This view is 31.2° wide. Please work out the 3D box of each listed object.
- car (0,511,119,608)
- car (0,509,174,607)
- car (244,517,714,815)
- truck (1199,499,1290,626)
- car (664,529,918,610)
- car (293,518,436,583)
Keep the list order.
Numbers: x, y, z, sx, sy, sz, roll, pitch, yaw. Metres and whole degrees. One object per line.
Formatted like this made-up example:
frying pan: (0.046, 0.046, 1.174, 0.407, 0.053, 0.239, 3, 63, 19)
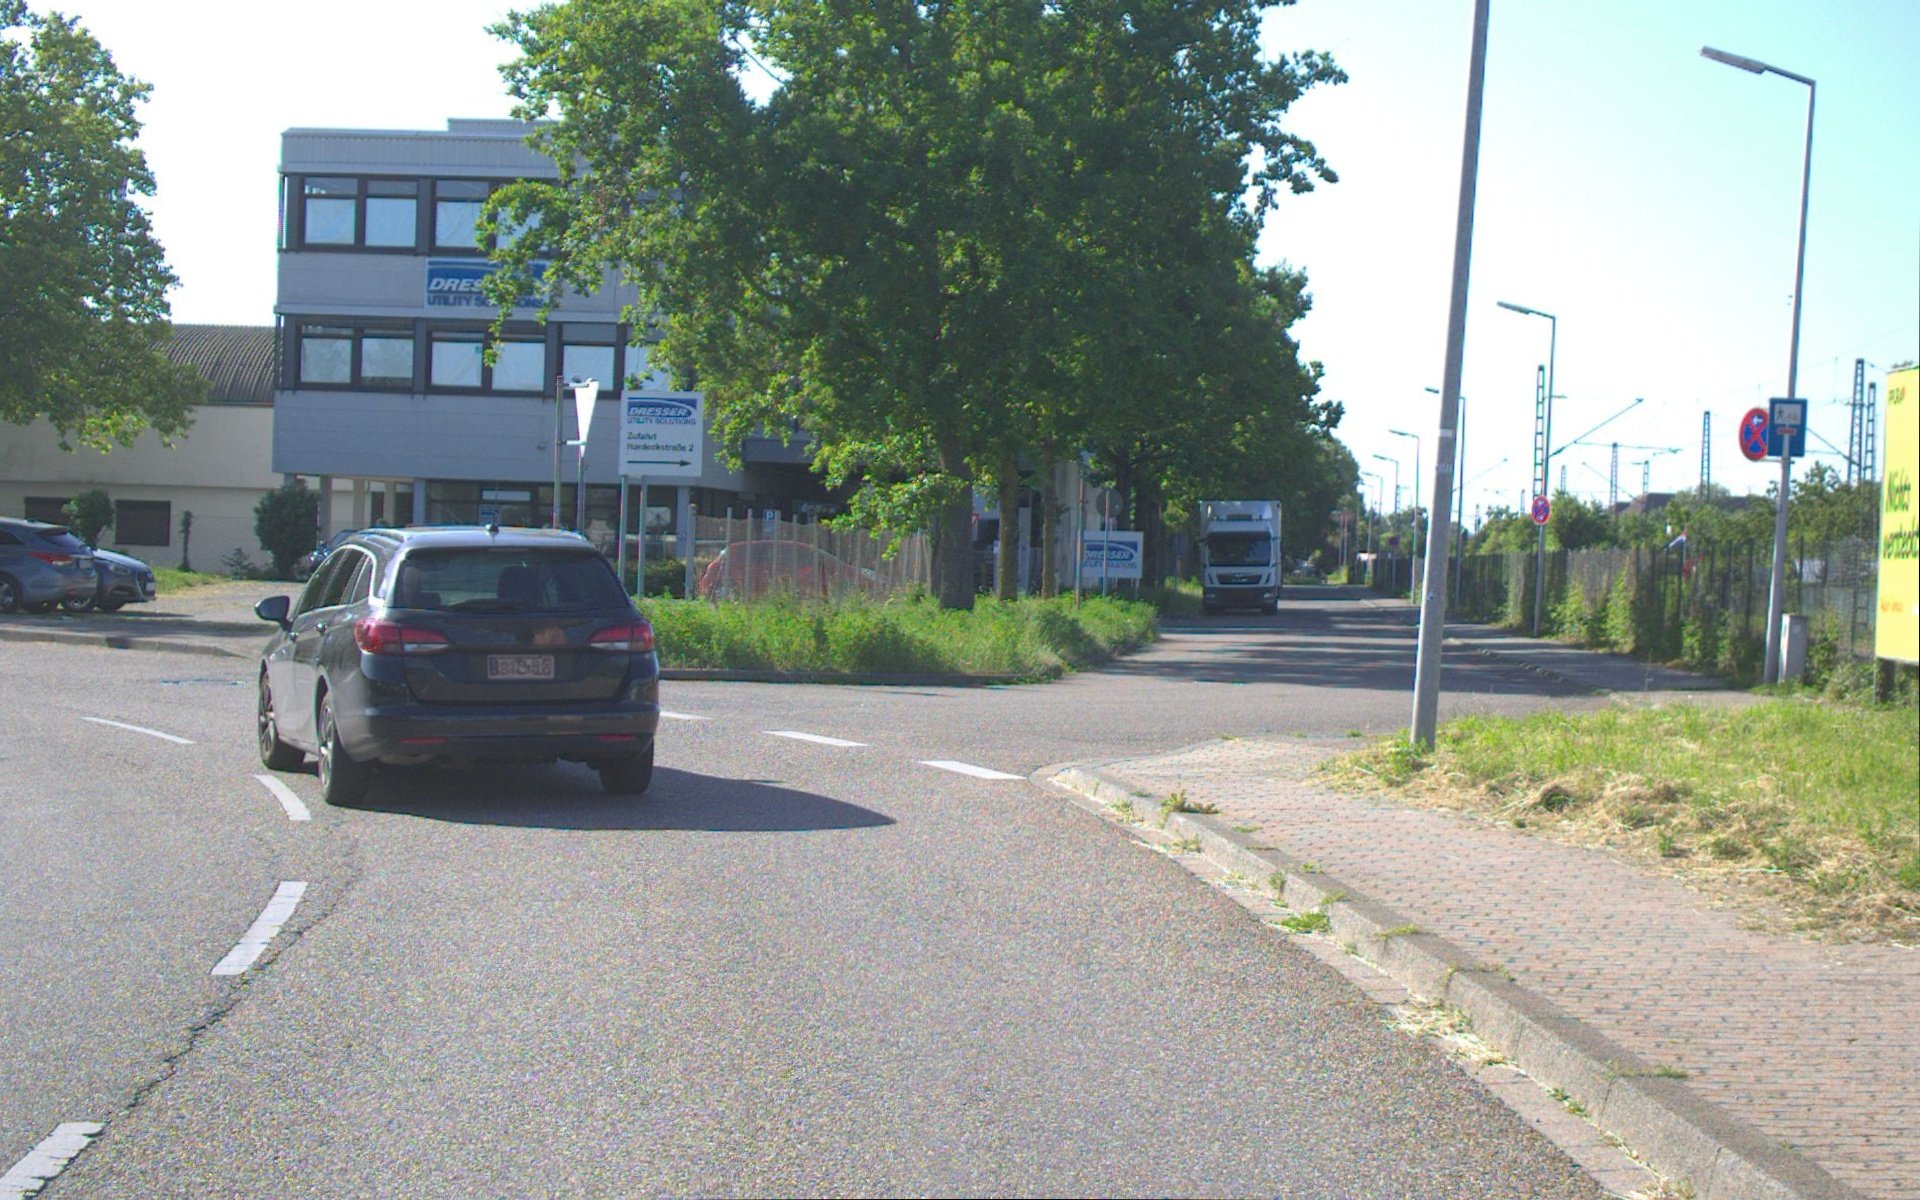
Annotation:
car: (-15.655, -0.685, 52.800, 4.911, 1.421, 2.000, 2, 1, 5)
car: (-15.402, -0.722, 55.390, 4.911, 1.479, 2.000, 2, 1, 5)
car: (-2.890, 0.280, 19.712, 1.942, 1.483, 4.567, 0, 1, -17)
truck: (9.415, -1.253, 114.798, 2.613, 3.872, 13.530, 3, 1, 4)
car: (-3.504, -0.657, 71.646, 4.912, 1.479, 1.999, 2, 2, 10)
car: (-14.560, -1.237, 84.351, 1.994, 1.479, 4.925, 2, 2, 8)
